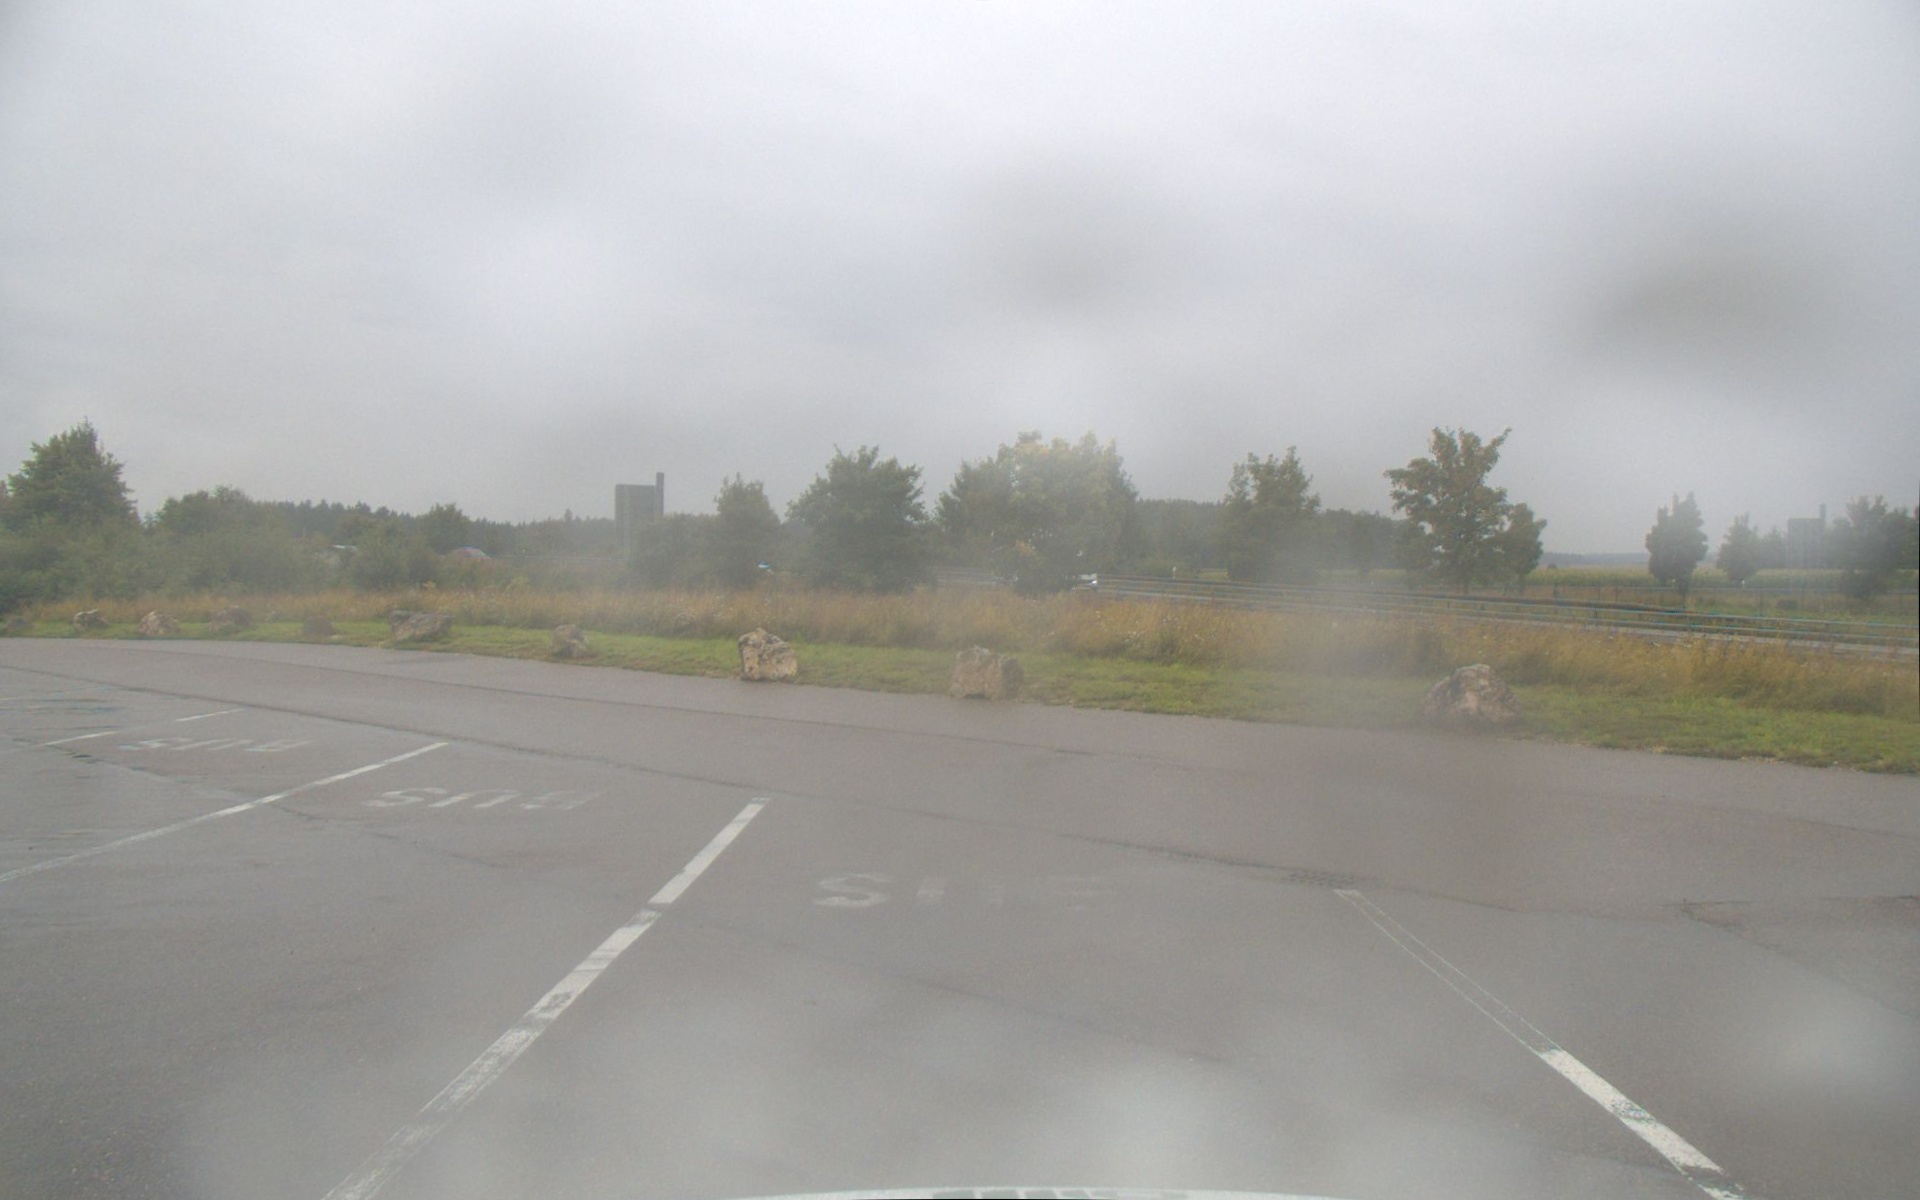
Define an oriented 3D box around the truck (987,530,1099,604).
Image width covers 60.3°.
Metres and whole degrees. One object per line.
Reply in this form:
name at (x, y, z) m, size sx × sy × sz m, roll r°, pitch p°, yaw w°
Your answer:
truck at (3.959, -1.609, 81.245) m, size 2.698 × 3.450 × 8.023 m, roll 1°, pitch 1°, yaw -19°
